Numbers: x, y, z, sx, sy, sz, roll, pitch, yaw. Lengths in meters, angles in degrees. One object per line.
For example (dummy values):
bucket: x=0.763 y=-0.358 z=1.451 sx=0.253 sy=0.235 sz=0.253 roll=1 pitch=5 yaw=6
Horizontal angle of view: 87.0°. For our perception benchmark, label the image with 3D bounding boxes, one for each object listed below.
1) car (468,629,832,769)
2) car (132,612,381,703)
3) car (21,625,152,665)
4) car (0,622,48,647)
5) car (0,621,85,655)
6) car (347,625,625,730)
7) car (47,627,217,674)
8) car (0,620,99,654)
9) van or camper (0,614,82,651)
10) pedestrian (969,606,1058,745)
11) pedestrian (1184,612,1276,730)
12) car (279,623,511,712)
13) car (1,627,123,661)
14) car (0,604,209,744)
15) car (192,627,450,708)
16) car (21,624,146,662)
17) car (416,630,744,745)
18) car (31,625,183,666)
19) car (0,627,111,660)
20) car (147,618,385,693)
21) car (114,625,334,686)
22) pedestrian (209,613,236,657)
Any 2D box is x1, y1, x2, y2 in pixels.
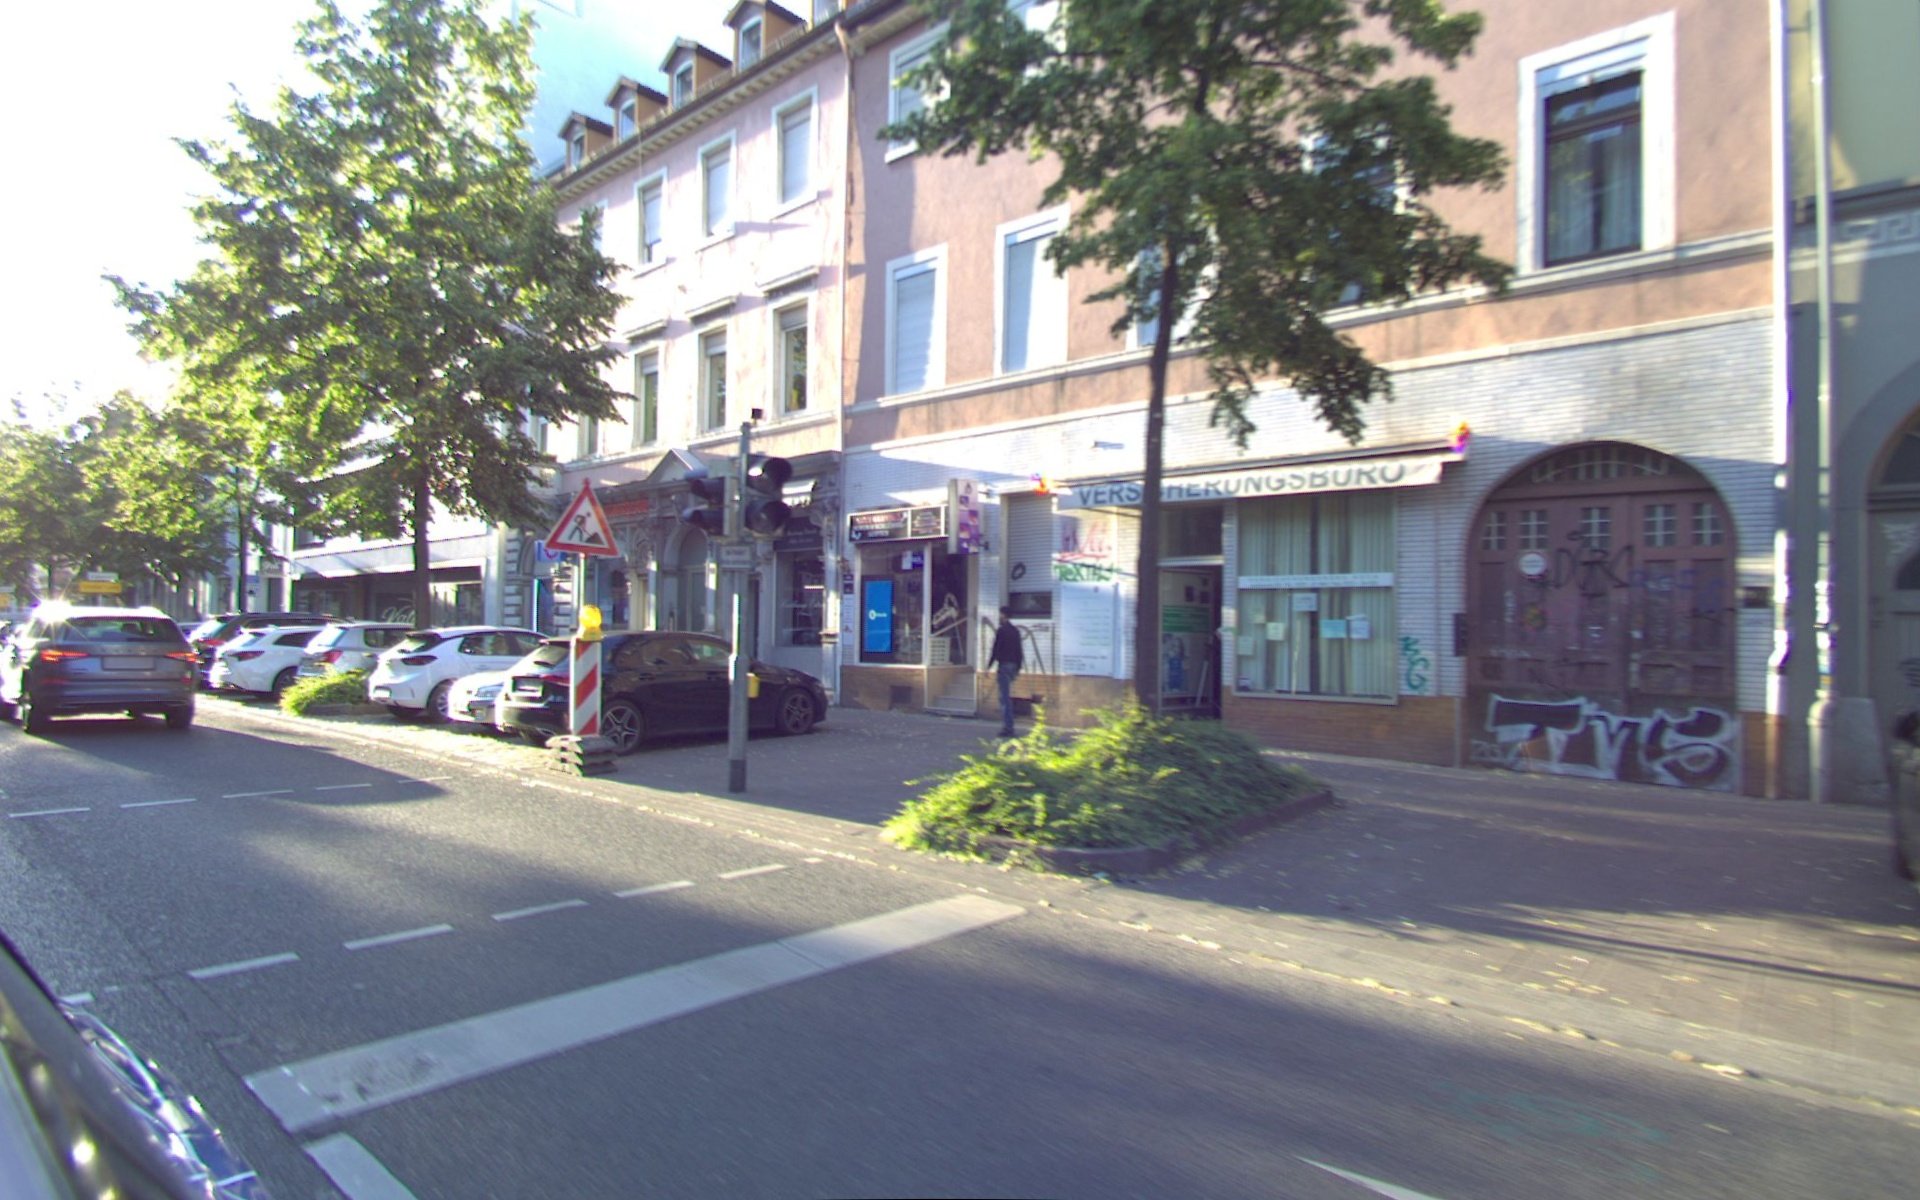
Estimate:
car: x=-3.744 y=1.103 z=12.809 sx=1.882 sy=1.414 sz=4.066 roll=-1 pitch=-1 yaw=39
car: x=-15.181 y=1.166 z=22.018 sx=1.888 sy=1.786 sz=4.108 roll=-1 pitch=-1 yaw=39
car: x=-35.847 y=1.806 z=41.619 sx=1.742 sy=1.579 sz=3.828 roll=-1 pitch=-2 yaw=39
car: x=-58.694 y=2.102 z=61.691 sx=1.813 sy=1.536 sz=4.382 roll=-1 pitch=-2 yaw=40
car: x=-48.589 y=1.975 z=52.879 sx=1.733 sy=1.681 sz=4.137 roll=-1 pitch=-2 yaw=43
car: x=-7.578 y=1.159 z=16.438 sx=1.804 sy=1.455 sz=3.702 roll=-1 pitch=-1 yaw=38
car: x=-27.908 y=1.650 z=34.214 sx=1.744 sy=1.495 sz=4.229 roll=-2 pitch=-2 yaw=41
car: x=-44.859 y=1.778 z=49.499 sx=4.133 sy=1.548 sz=1.746 roll=0 pitch=-1 yaw=-43
van or camper: x=-50.739 y=1.751 z=54.947 sx=1.789 sy=1.971 sz=4.410 roll=-2 pitch=-2 yaw=42
pedestrian: x=0.706 y=0.951 z=13.304 sx=0.875 sy=1.734 sz=0.764 roll=1 pitch=0 yaw=42
pedestrian: x=3.668 y=0.933 z=13.768 sx=0.860 sy=1.529 sz=0.821 roll=1 pitch=0 yaw=-29
car: x=-10.747 y=1.209 z=19.418 sx=1.714 sy=1.513 sz=3.520 roll=-1 pitch=-1 yaw=40
car: x=-40.000 y=1.934 z=45.130 sx=1.742 sy=1.468 sz=3.828 roll=-1 pitch=-2 yaw=39
car: x=-12.531 y=0.941 z=14.541 sx=4.458 sy=1.705 sz=1.842 roll=0 pitch=-2 yaw=41
car: x=-12.850 y=1.283 z=20.569 sx=1.765 sy=1.432 sz=4.108 roll=-1 pitch=-1 yaw=39
car: x=-37.800 y=1.823 z=43.731 sx=1.742 sy=1.579 sz=3.828 roll=-1 pitch=-2 yaw=39
car: x=-5.370 y=1.153 z=14.681 sx=1.843 sy=1.414 sz=4.052 roll=-1 pitch=-2 yaw=43
car: x=-32.707 y=1.699 z=38.910 sx=1.742 sy=1.495 sz=4.232 roll=-1 pitch=-2 yaw=39
car: x=-41.806 y=1.977 z=46.544 sx=1.742 sy=1.397 sz=4.002 roll=-2 pitch=-2 yaw=37
car: x=-16.484 y=1.260 z=24.213 sx=1.888 sy=1.608 sz=4.361 roll=-2 pitch=-2 yaw=40
car: x=-19.634 y=1.430 z=27.152 sx=1.743 sy=1.495 sz=4.500 roll=-2 pitch=-2 yaw=41
pedestrian: x=-30.059 y=1.423 z=41.247 sx=0.933 sy=1.762 sz=0.711 roll=-1 pitch=0 yaw=42
